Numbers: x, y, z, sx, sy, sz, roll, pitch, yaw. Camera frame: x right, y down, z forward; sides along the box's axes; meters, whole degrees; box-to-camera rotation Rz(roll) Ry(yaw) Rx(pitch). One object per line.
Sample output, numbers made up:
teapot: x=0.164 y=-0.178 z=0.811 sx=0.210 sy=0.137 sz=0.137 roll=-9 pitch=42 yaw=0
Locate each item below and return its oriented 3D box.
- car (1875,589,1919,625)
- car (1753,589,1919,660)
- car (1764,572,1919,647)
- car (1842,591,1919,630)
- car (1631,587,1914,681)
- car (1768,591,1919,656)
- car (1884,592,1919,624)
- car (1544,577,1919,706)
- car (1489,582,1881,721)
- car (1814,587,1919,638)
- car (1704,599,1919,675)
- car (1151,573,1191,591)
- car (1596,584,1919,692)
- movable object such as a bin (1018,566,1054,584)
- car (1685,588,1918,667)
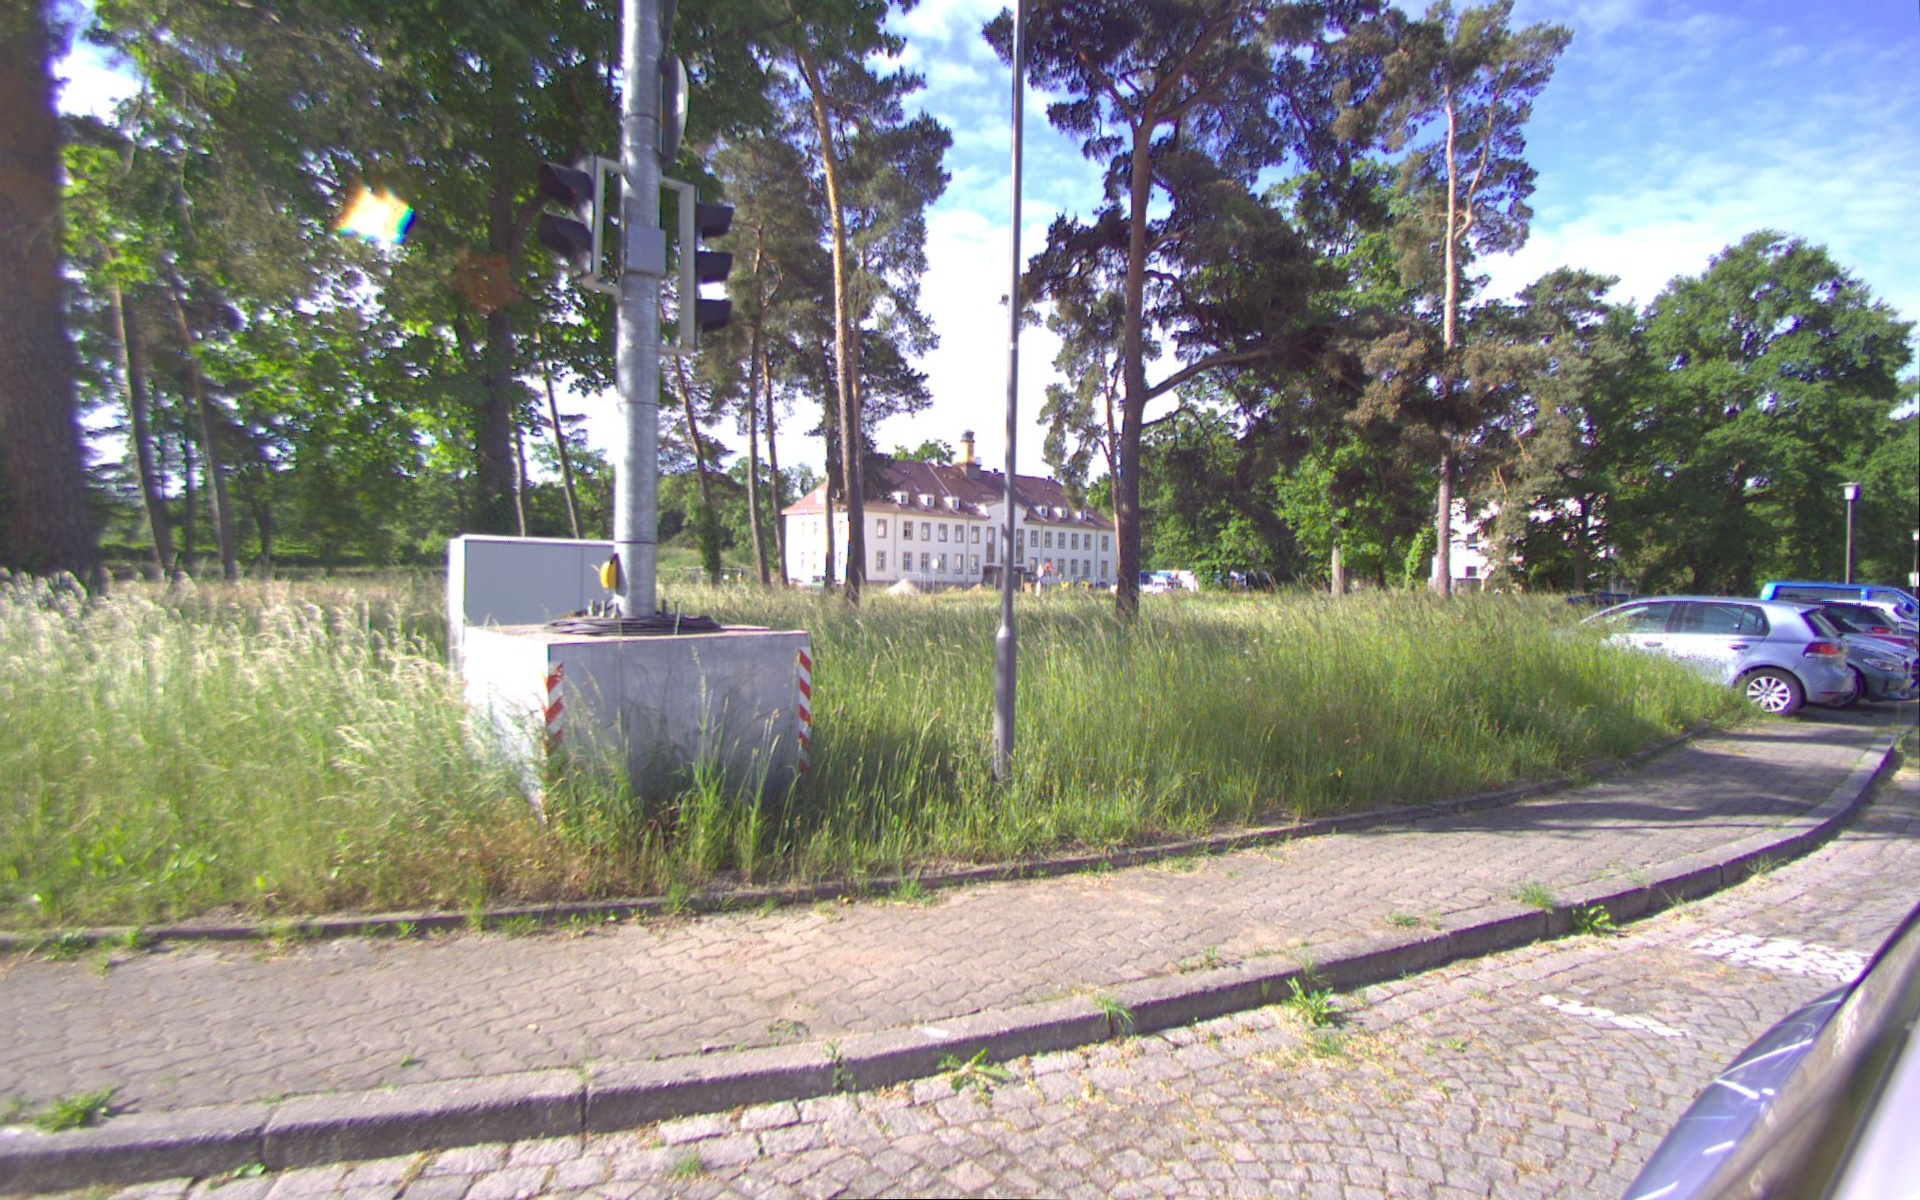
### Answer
car: x=47.742 y=0.324 z=49.673 sx=1.725 sy=1.763 sz=3.994 roll=-1 pitch=0 yaw=-39
car: x=21.141 y=0.535 z=23.800 sx=1.478 sy=1.509 sz=3.629 roll=0 pitch=2 yaw=-33
car: x=26.759 y=0.251 z=29.667 sx=1.965 sy=2.038 sz=4.724 roll=0 pitch=2 yaw=-41
car: x=40.275 y=0.445 z=42.997 sx=1.725 sy=1.537 sz=3.996 roll=0 pitch=2 yaw=-39
car: x=15.070 y=0.546 z=18.925 sx=1.633 sy=1.410 sz=3.913 roll=0 pitch=3 yaw=-43
car: x=22.961 y=0.556 z=25.967 sx=1.423 sy=1.509 sz=3.264 roll=0 pitch=2 yaw=-40
car: x=51.015 y=0.415 z=52.729 sx=1.725 sy=1.635 sz=3.996 roll=-1 pitch=0 yaw=-38
car: x=11.650 y=0.503 z=15.354 sx=4.497 sy=1.535 sz=1.797 roll=4 pitch=3 yaw=44
car: x=9.690 y=0.557 z=13.756 sx=1.839 sy=1.478 sz=4.021 roll=0 pitch=3 yaw=-43
car: x=33.030 y=0.429 z=35.828 sx=1.725 sy=1.660 sz=3.996 roll=0 pitch=2 yaw=-39
car: x=17.007 y=0.675 z=20.119 sx=1.396 sy=1.271 sz=3.352 roll=0 pitch=2 yaw=-43
car: x=24.018 y=-2.019 z=115.085 sx=4.691 sy=2.039 sz=1.997 roll=0 pitch=1 yaw=-42
car: x=13.645 y=0.553 z=17.236 sx=1.795 sy=1.419 sz=4.418 roll=0 pitch=3 yaw=-43
movable object such as a bin: x=9.920 y=-3.243 z=132.073 sx=1.994 sy=2.352 sz=4.909 roll=2 pitch=2 yaw=43
car: x=18.480 y=0.539 z=22.340 sx=1.523 sy=1.509 sz=3.774 roll=0 pitch=2 yaw=-43
